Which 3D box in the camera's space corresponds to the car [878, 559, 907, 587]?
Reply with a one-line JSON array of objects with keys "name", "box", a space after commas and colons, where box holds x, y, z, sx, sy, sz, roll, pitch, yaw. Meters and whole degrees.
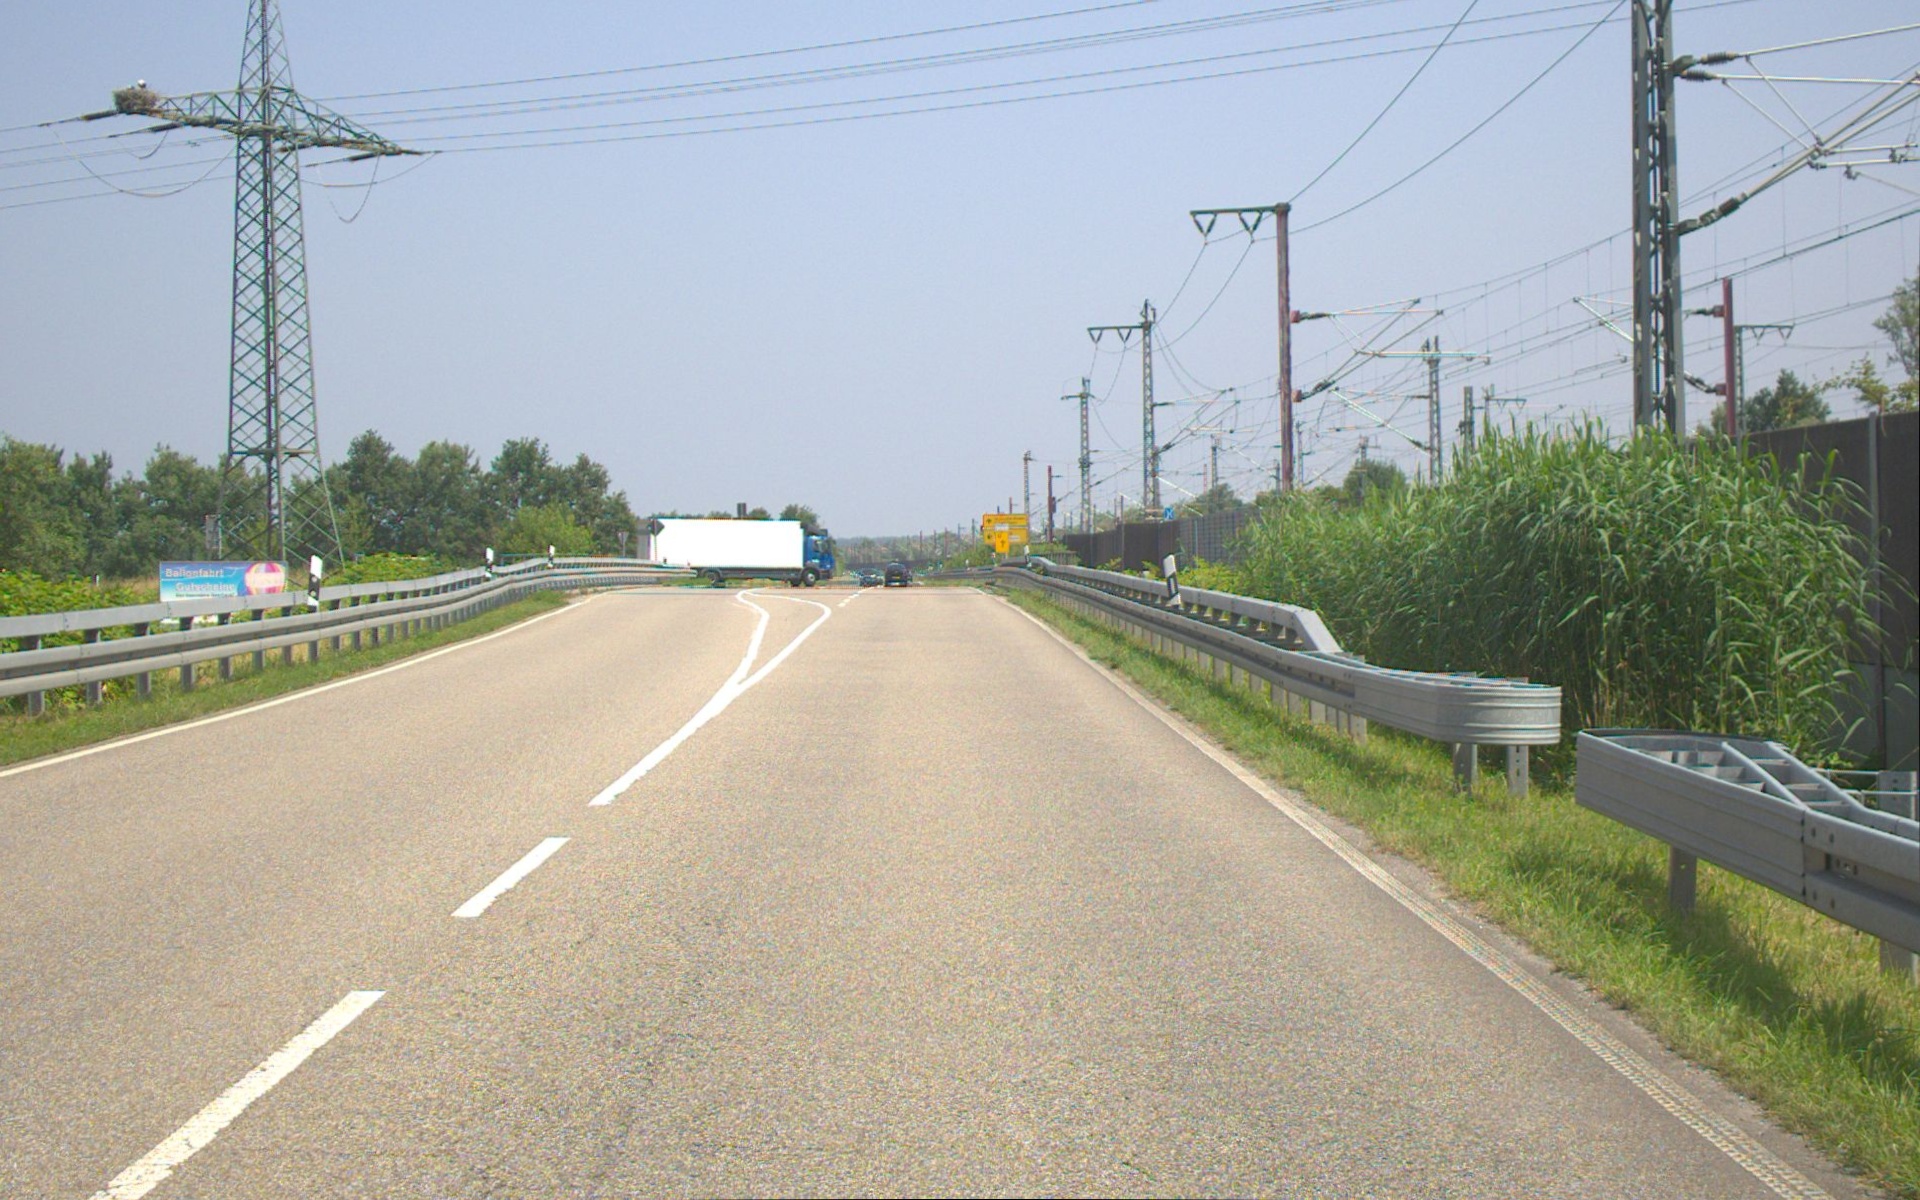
[{"name": "car", "box": [-5.031, -2.019, 256.125, 1.993, 2.007, 4.001, 0, 1, -4]}]

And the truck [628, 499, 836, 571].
[{"name": "truck", "box": [-11.872, -3.373, 179.040, 10.410, 3.619, 2.846, 0, 1, -21]}]
